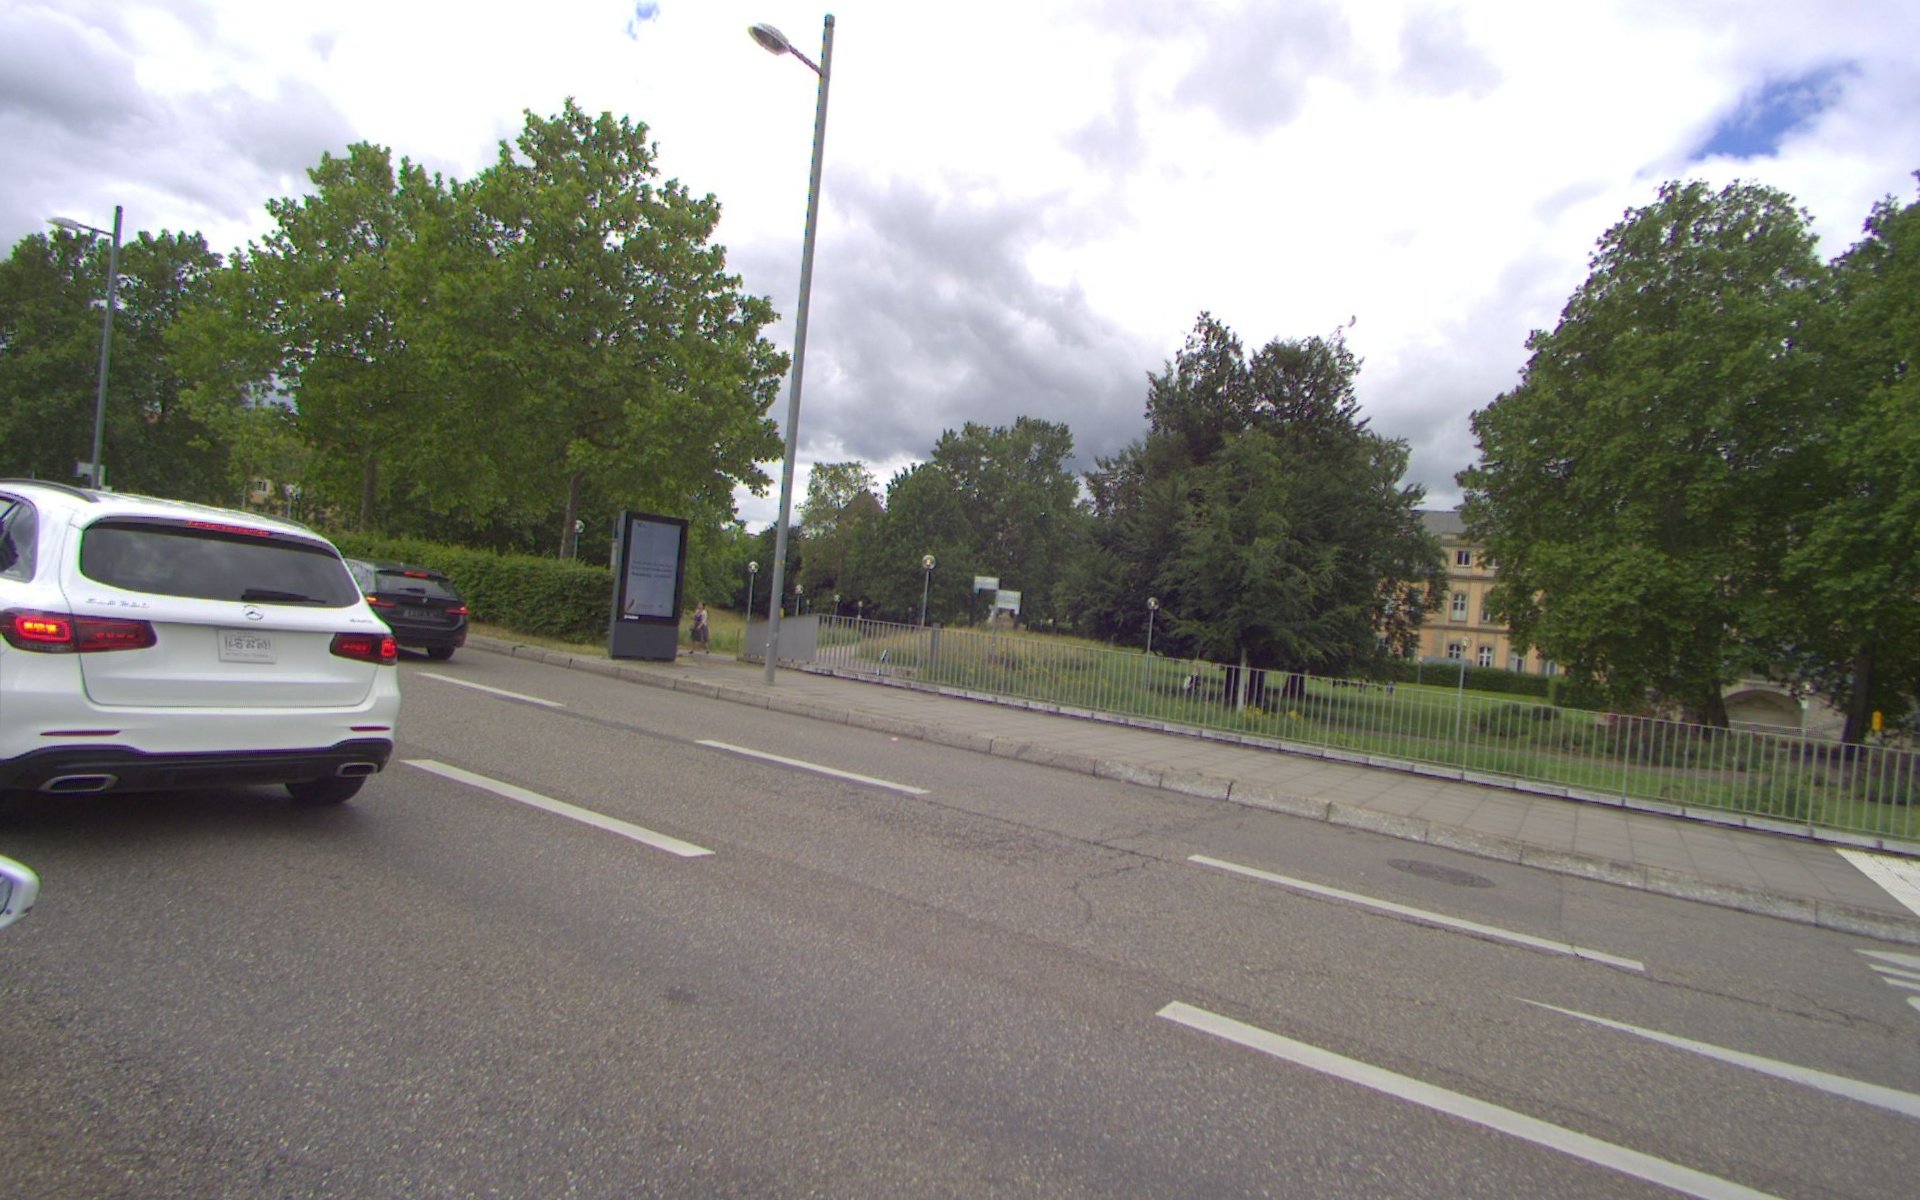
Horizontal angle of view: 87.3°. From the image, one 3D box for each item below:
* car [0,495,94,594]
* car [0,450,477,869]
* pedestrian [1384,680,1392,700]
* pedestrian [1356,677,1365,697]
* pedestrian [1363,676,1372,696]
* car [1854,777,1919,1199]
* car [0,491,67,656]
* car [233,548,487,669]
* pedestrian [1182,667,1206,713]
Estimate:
[{"bbox_3d":[-18.970,-1.235,19.649,4.236,1.659,1.995,7,-1,34],"label":"car"},{"bbox_3d":[-5.131,0.109,5.982,4.416,1.673,1.929,7,-1,33],"label":"car"},{"bbox_3d":[39.139,8.236,91.941,0.460,1.756,0.405,5,-2,32],"label":"pedestrian"},{"bbox_3d":[36.909,8.012,92.674,0.401,1.756,0.465,7,-2,-29],"label":"pedestrian"},{"bbox_3d":[37.642,7.924,92.978,0.462,1.756,0.404,4,-3,44],"label":"pedestrian"},{"bbox_3d":[3.708,1.264,0.603,4.454,1.436,1.796,5,-2,33],"label":"car"},{"bbox_3d":[-11.395,-0.492,10.483,4.417,1.569,1.929,6,-2,33],"label":"car"},{"bbox_3d":[-9.834,0.106,16.356,4.460,1.476,1.932,5,-3,38],"label":"car"},{"bbox_3d":[8.671,3.333,37.339,0.645,1.619,0.684,6,-2,7],"label":"pedestrian"}]
